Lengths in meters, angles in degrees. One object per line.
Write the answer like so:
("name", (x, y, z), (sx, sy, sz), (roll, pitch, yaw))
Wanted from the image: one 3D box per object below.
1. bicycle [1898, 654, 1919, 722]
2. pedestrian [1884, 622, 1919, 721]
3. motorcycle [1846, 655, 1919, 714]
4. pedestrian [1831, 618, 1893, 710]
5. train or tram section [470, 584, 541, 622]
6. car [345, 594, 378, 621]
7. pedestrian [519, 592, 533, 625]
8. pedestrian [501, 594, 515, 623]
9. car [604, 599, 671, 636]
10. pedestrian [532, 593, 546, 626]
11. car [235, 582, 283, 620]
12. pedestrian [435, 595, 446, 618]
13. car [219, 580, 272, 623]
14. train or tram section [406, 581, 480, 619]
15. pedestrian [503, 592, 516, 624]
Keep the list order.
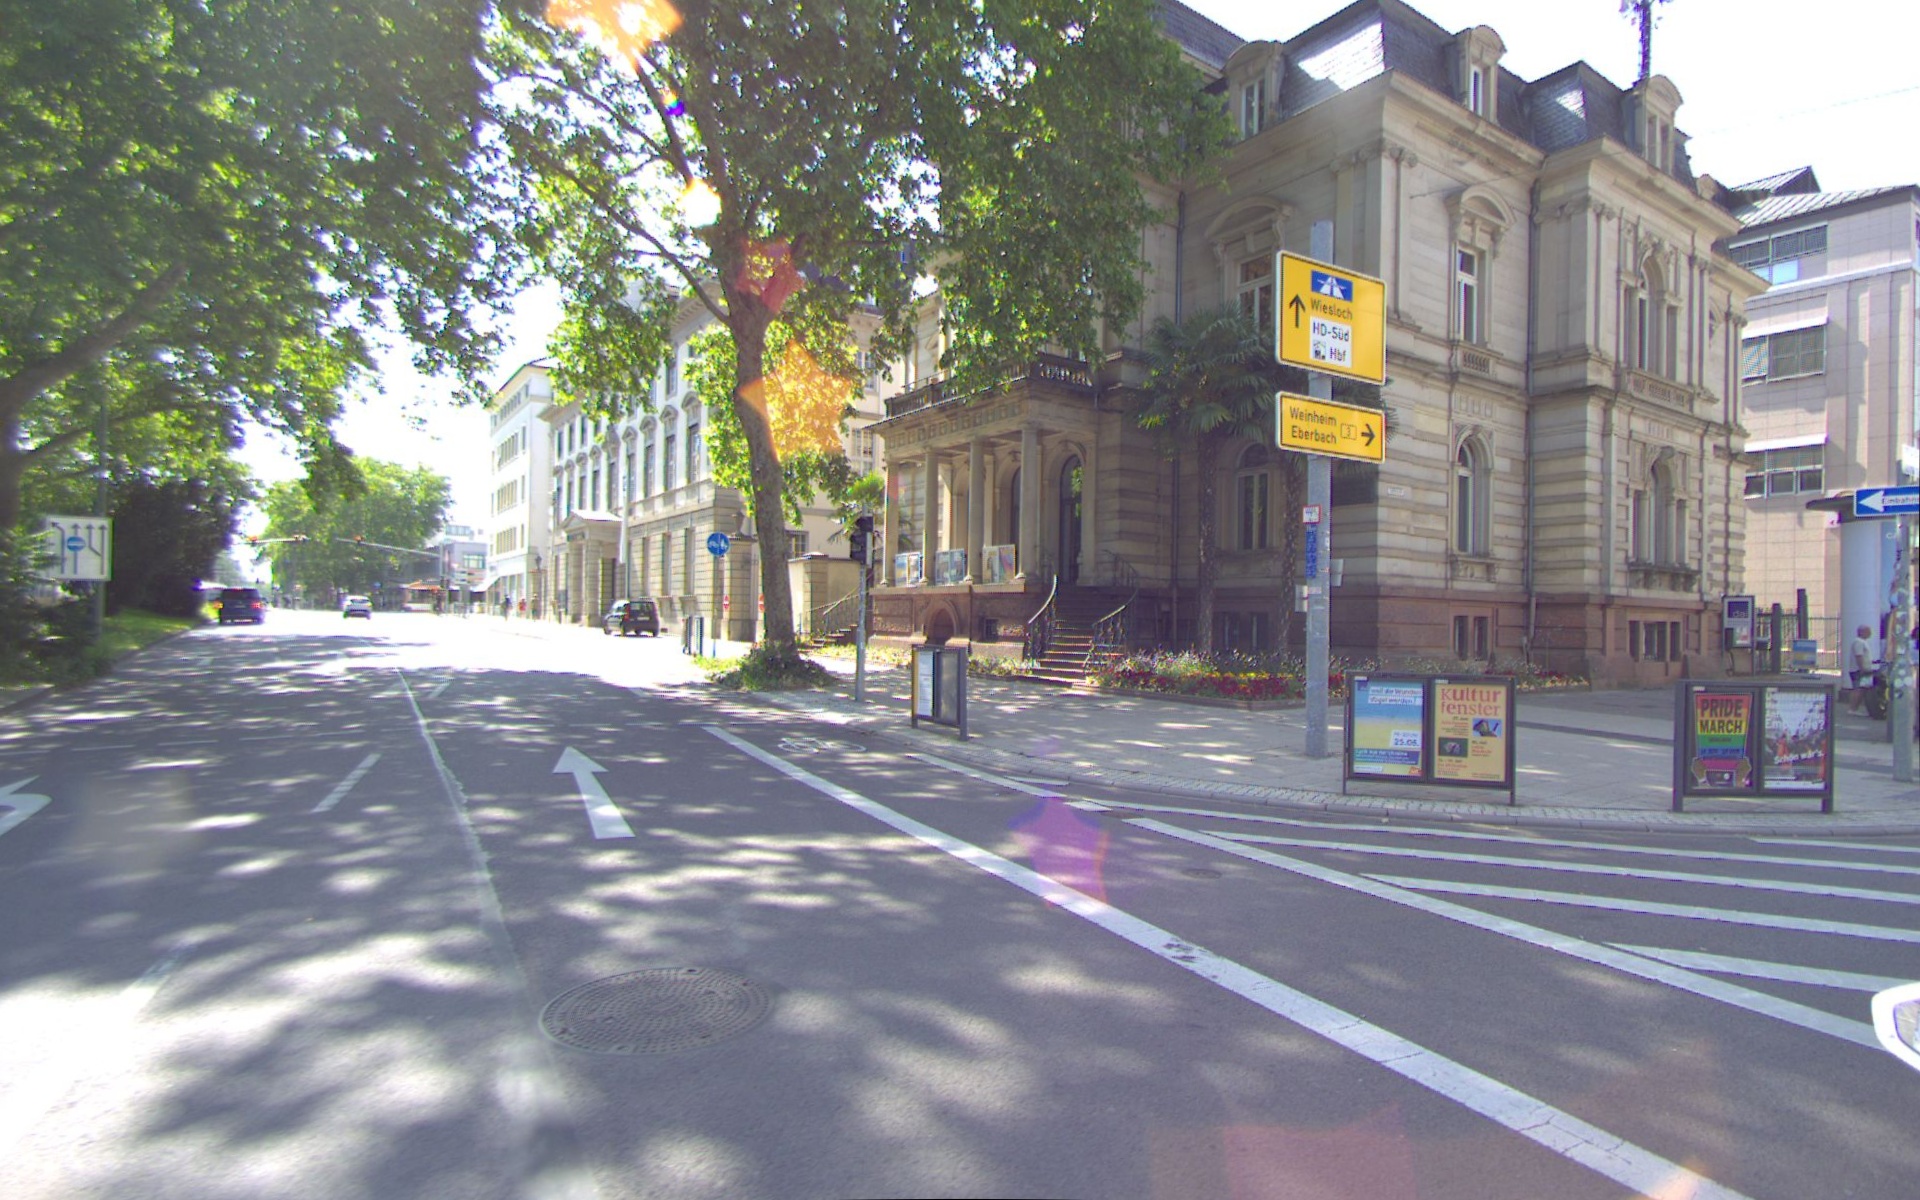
("bicycle", (17.242, 1.558, 17.501), (2.212, 1.135, 0.428), (3, 0, -24))
("pedestrian", (16.918, 1.269, 17.757), (0.683, 1.717, 0.691), (3, -2, -32))
("motorcycle", (17.114, 1.553, 18.435), (2.131, 1.011, 0.452), (2, 0, -25))
("pedestrian", (16.896, 1.199, 18.821), (0.924, 1.687, 0.547), (3, -2, -26))
("train or tram section", (-46.767, 0.292, 103.521), (6.166, 3.732, 2.150), (1, -1, -6))
("car", (-39.998, 0.466, 67.170), (1.830, 1.758, 4.024), (1, 0, -31))
("pedestrian", (-27.518, 0.539, 63.720), (0.687, 2.040, 0.830), (3, -2, -25))
("pedestrian", (-27.937, 0.530, 62.074), (0.689, 1.811, 0.828), (1, -1, -33))
("car", (-14.012, 0.735, 43.514), (1.913, 1.514, 4.024), (1, 0, -31))
("pedestrian", (-26.907, 0.608, 64.152), (0.687, 2.040, 0.830), (3, -2, -25))
("car", (-40.380, 0.040, 57.941), (1.913, 2.108, 4.024), (1, 0, -31))
("pedestrian", (-40.810, 0.501, 78.897), (0.689, 1.811, 0.828), (1, -1, -33))
("car", (-37.887, 0.059, 53.341), (1.913, 2.197, 4.024), (1, 0, -31))
("train or tram section", (-52.900, 0.003, 102.881), (6.251, 3.732, 2.150), (1, -1, -7))
("pedestrian", (-29.524, 0.534, 65.856), (0.687, 2.040, 0.830), (3, -2, -25))
